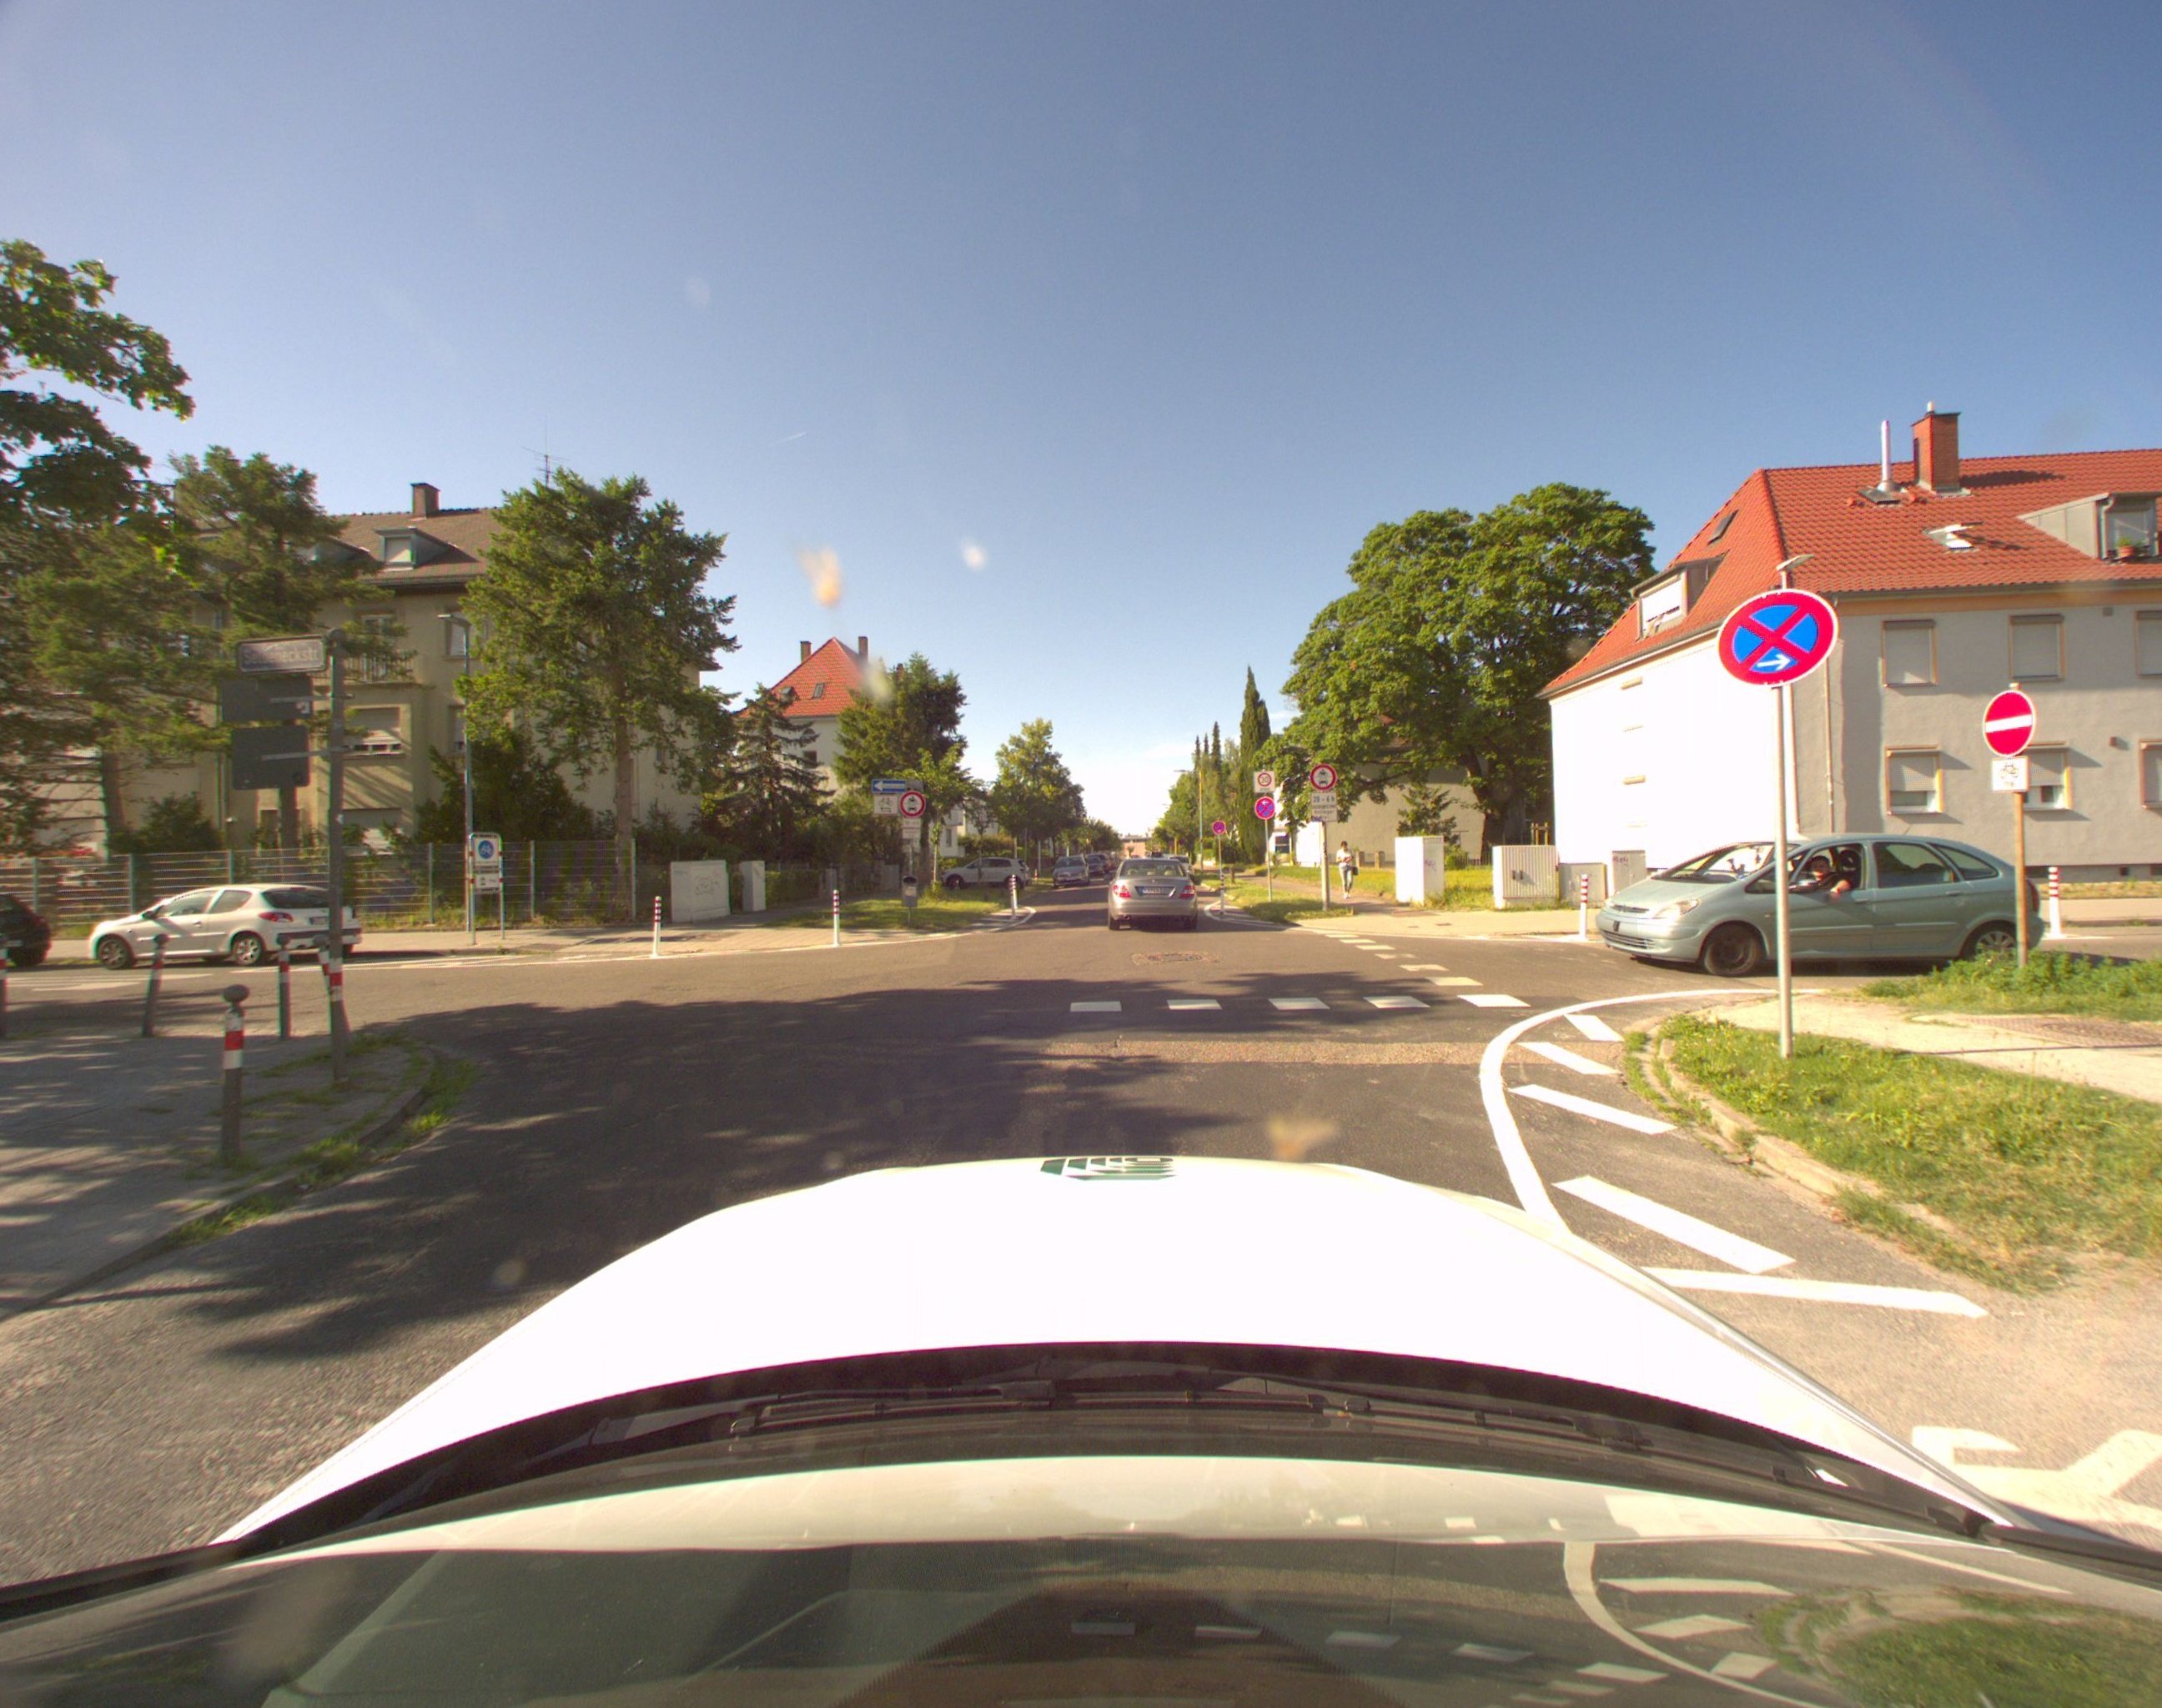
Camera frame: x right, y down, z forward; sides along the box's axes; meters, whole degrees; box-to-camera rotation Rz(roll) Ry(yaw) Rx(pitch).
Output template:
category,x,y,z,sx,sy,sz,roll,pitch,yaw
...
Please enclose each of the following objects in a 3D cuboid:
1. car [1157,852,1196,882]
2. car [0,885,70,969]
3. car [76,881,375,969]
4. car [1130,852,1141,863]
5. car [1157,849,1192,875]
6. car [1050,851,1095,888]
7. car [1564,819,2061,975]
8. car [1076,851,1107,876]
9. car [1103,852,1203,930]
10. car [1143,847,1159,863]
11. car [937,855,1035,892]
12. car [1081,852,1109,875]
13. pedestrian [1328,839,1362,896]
category,x,y,z,sx,sy,sz,roll,pitch,yaw
car,5.069,0.667,43.585,1.727,1.480,3.727,-2,0,2
car,-21.436,1.386,14.968,3.797,1.495,1.678,-2,-1,4
car,-15.482,1.256,14.863,3.748,1.398,1.708,-2,-1,3
car,8.496,0.495,127.876,1.591,1.609,3.645,-2,0,2
car,6.173,0.484,54.146,1.986,1.609,4.002,-2,0,2
car,-0.392,0.740,41.563,1.986,1.609,4.002,-5,0,2
car,8.560,0.485,9.898,4.214,1.608,1.891,-2,0,4
car,0.805,0.691,59.352,1.986,1.609,4.002,-5,0,2
car,1.515,0.684,17.101,1.827,1.441,4.006,-1,0,5
car,8.501,0.065,99.226,1.847,1.841,4.004,-2,0,3
car,-4.215,0.864,36.605,4.178,1.564,1.842,-1,0,0
car,1.147,0.743,65.142,1.986,1.609,4.002,-5,0,2
pedestrian,7.709,0.388,23.807,0.761,1.611,0.836,-2,0,8
